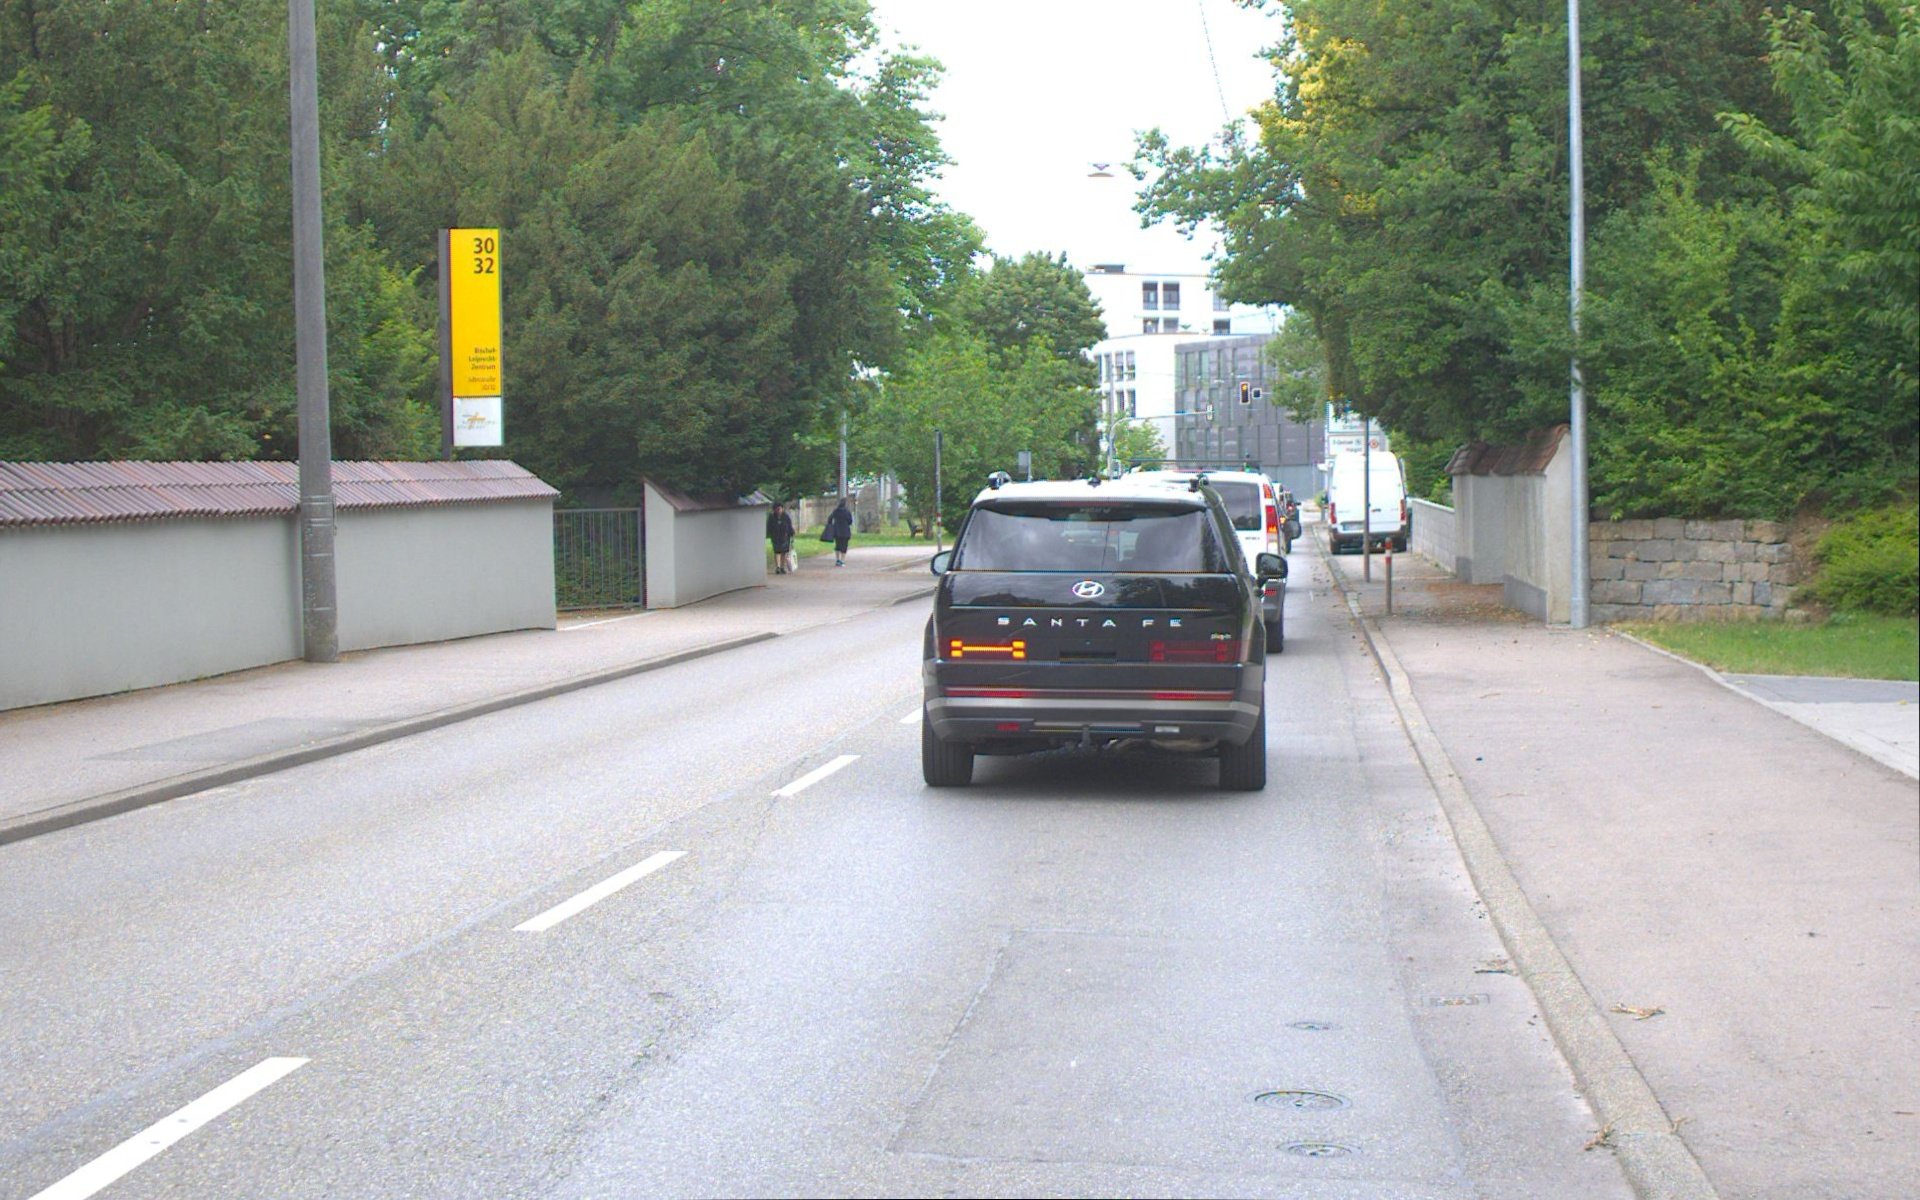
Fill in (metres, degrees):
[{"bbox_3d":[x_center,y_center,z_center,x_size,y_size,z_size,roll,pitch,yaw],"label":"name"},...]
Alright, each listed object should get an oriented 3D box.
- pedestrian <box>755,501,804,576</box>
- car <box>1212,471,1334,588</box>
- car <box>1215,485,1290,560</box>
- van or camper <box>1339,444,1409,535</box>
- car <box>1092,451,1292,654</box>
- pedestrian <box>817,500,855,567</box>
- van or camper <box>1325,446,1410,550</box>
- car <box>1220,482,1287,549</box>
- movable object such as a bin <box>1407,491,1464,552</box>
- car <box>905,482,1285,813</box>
[{"bbox_3d":[-3.846,-1.311,73.401,0.925,1.555,0.902,2,0,2],"label":"pedestrian"},{"bbox_3d":[5.363,-1.201,58.985,1.964,1.896,3.999,-1,1,5],"label":"car"},{"bbox_3d":[8.050,-2.125,94.616,1.964,1.994,3.999,-1,1,5],"label":"car"},{"bbox_3d":[13.362,-3.576,111.248,1.964,2.787,5.286,-2,2,5],"label":"van or camper"},{"bbox_3d":[2.508,-0.529,36.638,1.964,1.994,4.000,-1,1,5],"label":"car"},{"bbox_3d":[-2.913,-1.573,80.970,0.749,1.572,0.966,1,2,6],"label":"pedestrian"},{"bbox_3d":[10.932,-2.760,92.592,1.964,2.618,6.358,-3,2,5],"label":"van or camper"},{"bbox_3d":[9.061,-2.592,106.144,1.964,1.994,3.999,-1,1,5],"label":"car"},{"bbox_3d":[11.559,-1.910,83.624,1.300,1.445,1.180,-2,1,6],"label":"movable object such as a bin"},{"bbox_3d":[0.803,0.178,19.971,1.964,1.705,4.000,1,2,3],"label":"car"}]
